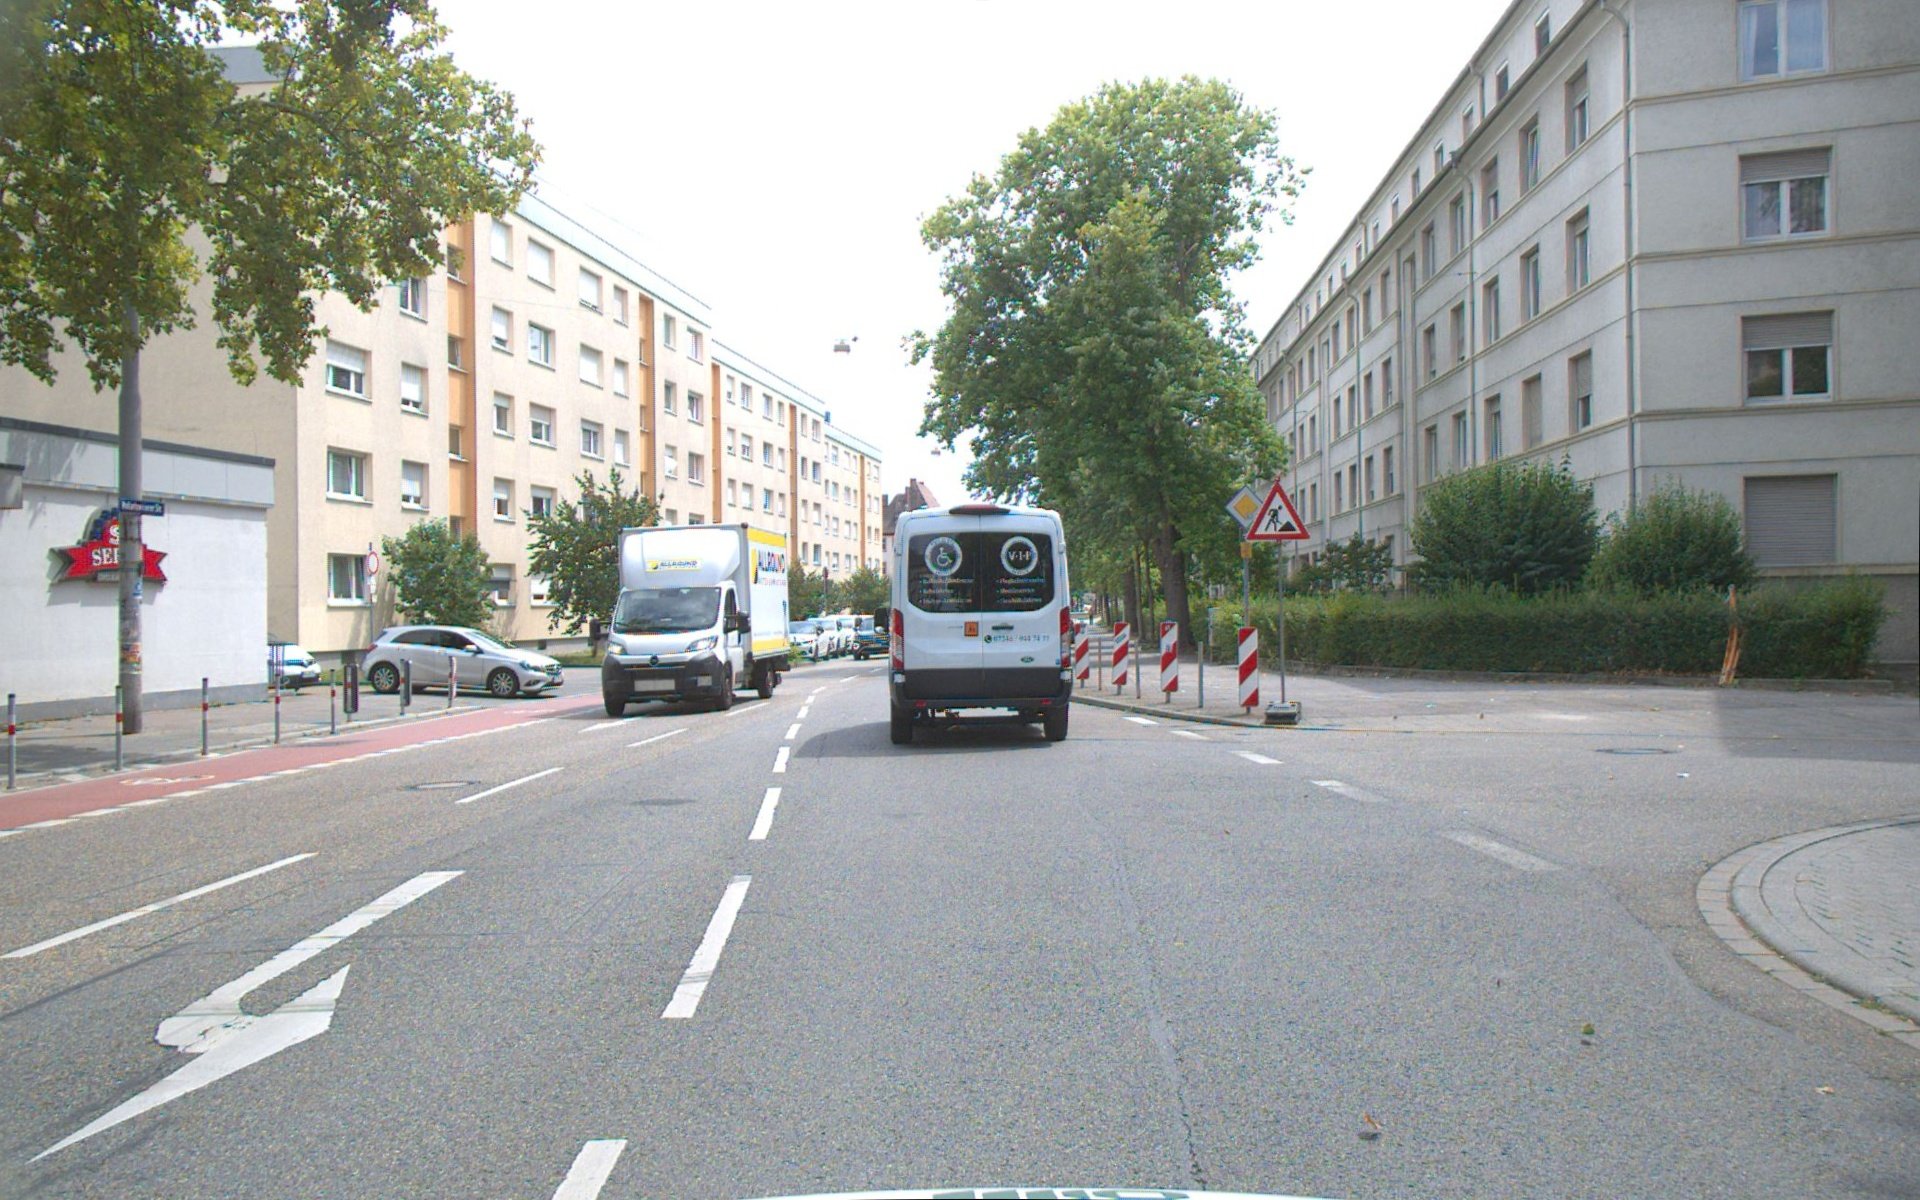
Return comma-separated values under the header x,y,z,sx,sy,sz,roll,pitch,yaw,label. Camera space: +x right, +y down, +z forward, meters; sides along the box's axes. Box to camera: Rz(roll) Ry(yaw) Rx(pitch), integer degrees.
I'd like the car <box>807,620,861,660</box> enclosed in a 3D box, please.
x,y,z,sx,sy,sz,roll,pitch,yaw,label
-4.987,1.576,65.874,1.673,1.498,3.990,1,0,2,car

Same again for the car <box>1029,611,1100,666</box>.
x,y,z,sx,sy,sz,roll,pitch,yaw,label
2.984,1.044,46.533,1.877,1.469,4.241,-1,0,5,car

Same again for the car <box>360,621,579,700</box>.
x,y,z,sx,sy,sz,roll,pitch,yaw,label
-10.576,1.276,35.817,4.083,1.476,1.850,2,0,7,car

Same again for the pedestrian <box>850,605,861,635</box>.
x,y,z,sx,sy,sz,roll,pitch,yaw,label
-6.628,1.263,104.459,0.607,1.845,0.899,0,-1,1,pedestrian

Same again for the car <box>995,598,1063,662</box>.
x,y,z,sx,sy,sz,roll,pitch,yaw,label
2.226,0.905,52.171,1.877,1.898,4.849,1,0,5,car

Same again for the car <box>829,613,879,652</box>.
x,y,z,sx,sy,sz,roll,pitch,yaw,label
-4.623,1.401,72.896,1.662,1.641,4.479,1,0,3,car

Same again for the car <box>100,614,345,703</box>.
x,y,z,sx,sy,sz,roll,pitch,yaw,label
-15.886,1.256,35.724,4.532,1.715,1.851,-2,0,10,car

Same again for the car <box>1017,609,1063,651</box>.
x,y,z,sx,sy,sz,roll,pitch,yaw,label
2.984,1.092,61.800,1.662,1.475,4.102,0,0,2,car

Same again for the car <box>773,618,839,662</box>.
x,y,z,sx,sy,sz,roll,pitch,yaw,label
-5.596,1.430,60.398,1.672,1.498,3.991,1,0,5,car

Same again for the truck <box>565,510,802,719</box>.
x,y,z,sx,sy,sz,roll,pitch,yaw,label
-4.692,0.233,29.514,2.488,3.161,7.023,-3,0,4,truck

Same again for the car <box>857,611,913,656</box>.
x,y,z,sx,sy,sz,roll,pitch,yaw,label
-2.777,1.216,61.584,1.662,1.544,4.001,-2,0,3,car

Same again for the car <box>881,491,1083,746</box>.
x,y,z,sx,sy,sz,roll,pitch,yaw,label
0.308,0.218,19.445,2.027,2.585,4.635,-2,-1,2,car
